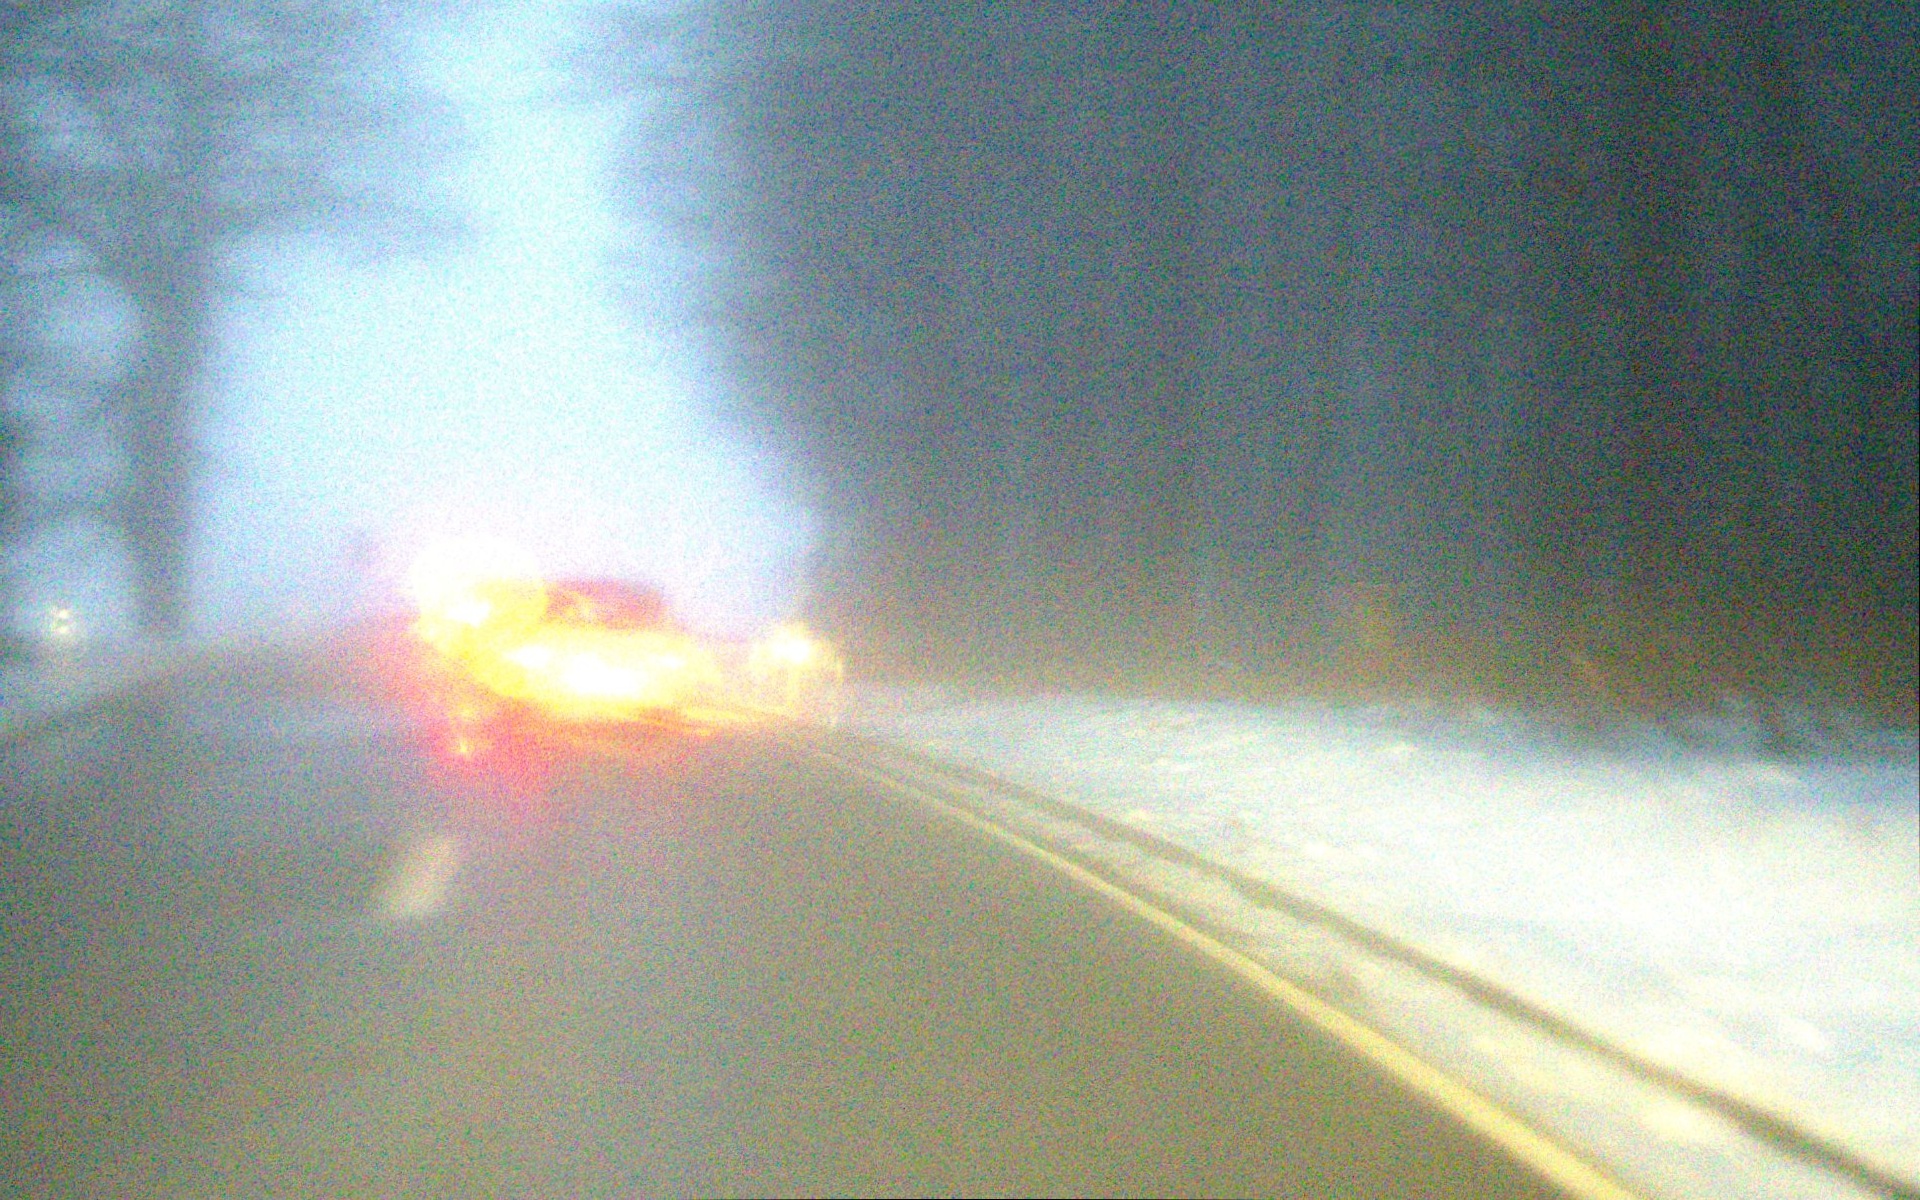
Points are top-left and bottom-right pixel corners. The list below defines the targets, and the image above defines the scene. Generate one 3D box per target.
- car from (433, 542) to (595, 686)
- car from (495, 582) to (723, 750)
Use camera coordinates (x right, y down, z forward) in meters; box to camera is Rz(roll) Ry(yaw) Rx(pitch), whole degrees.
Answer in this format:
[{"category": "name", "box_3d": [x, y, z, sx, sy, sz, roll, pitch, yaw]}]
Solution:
[{"category": "car", "box_3d": [-6.277, 0.183, 48.091, 1.993, 1.777, 4.001, 5, 0, -9]}, {"category": "car", "box_3d": [-3.366, 0.583, 32.495, 1.945, 1.376, 4.001, 3, 0, -7]}]
